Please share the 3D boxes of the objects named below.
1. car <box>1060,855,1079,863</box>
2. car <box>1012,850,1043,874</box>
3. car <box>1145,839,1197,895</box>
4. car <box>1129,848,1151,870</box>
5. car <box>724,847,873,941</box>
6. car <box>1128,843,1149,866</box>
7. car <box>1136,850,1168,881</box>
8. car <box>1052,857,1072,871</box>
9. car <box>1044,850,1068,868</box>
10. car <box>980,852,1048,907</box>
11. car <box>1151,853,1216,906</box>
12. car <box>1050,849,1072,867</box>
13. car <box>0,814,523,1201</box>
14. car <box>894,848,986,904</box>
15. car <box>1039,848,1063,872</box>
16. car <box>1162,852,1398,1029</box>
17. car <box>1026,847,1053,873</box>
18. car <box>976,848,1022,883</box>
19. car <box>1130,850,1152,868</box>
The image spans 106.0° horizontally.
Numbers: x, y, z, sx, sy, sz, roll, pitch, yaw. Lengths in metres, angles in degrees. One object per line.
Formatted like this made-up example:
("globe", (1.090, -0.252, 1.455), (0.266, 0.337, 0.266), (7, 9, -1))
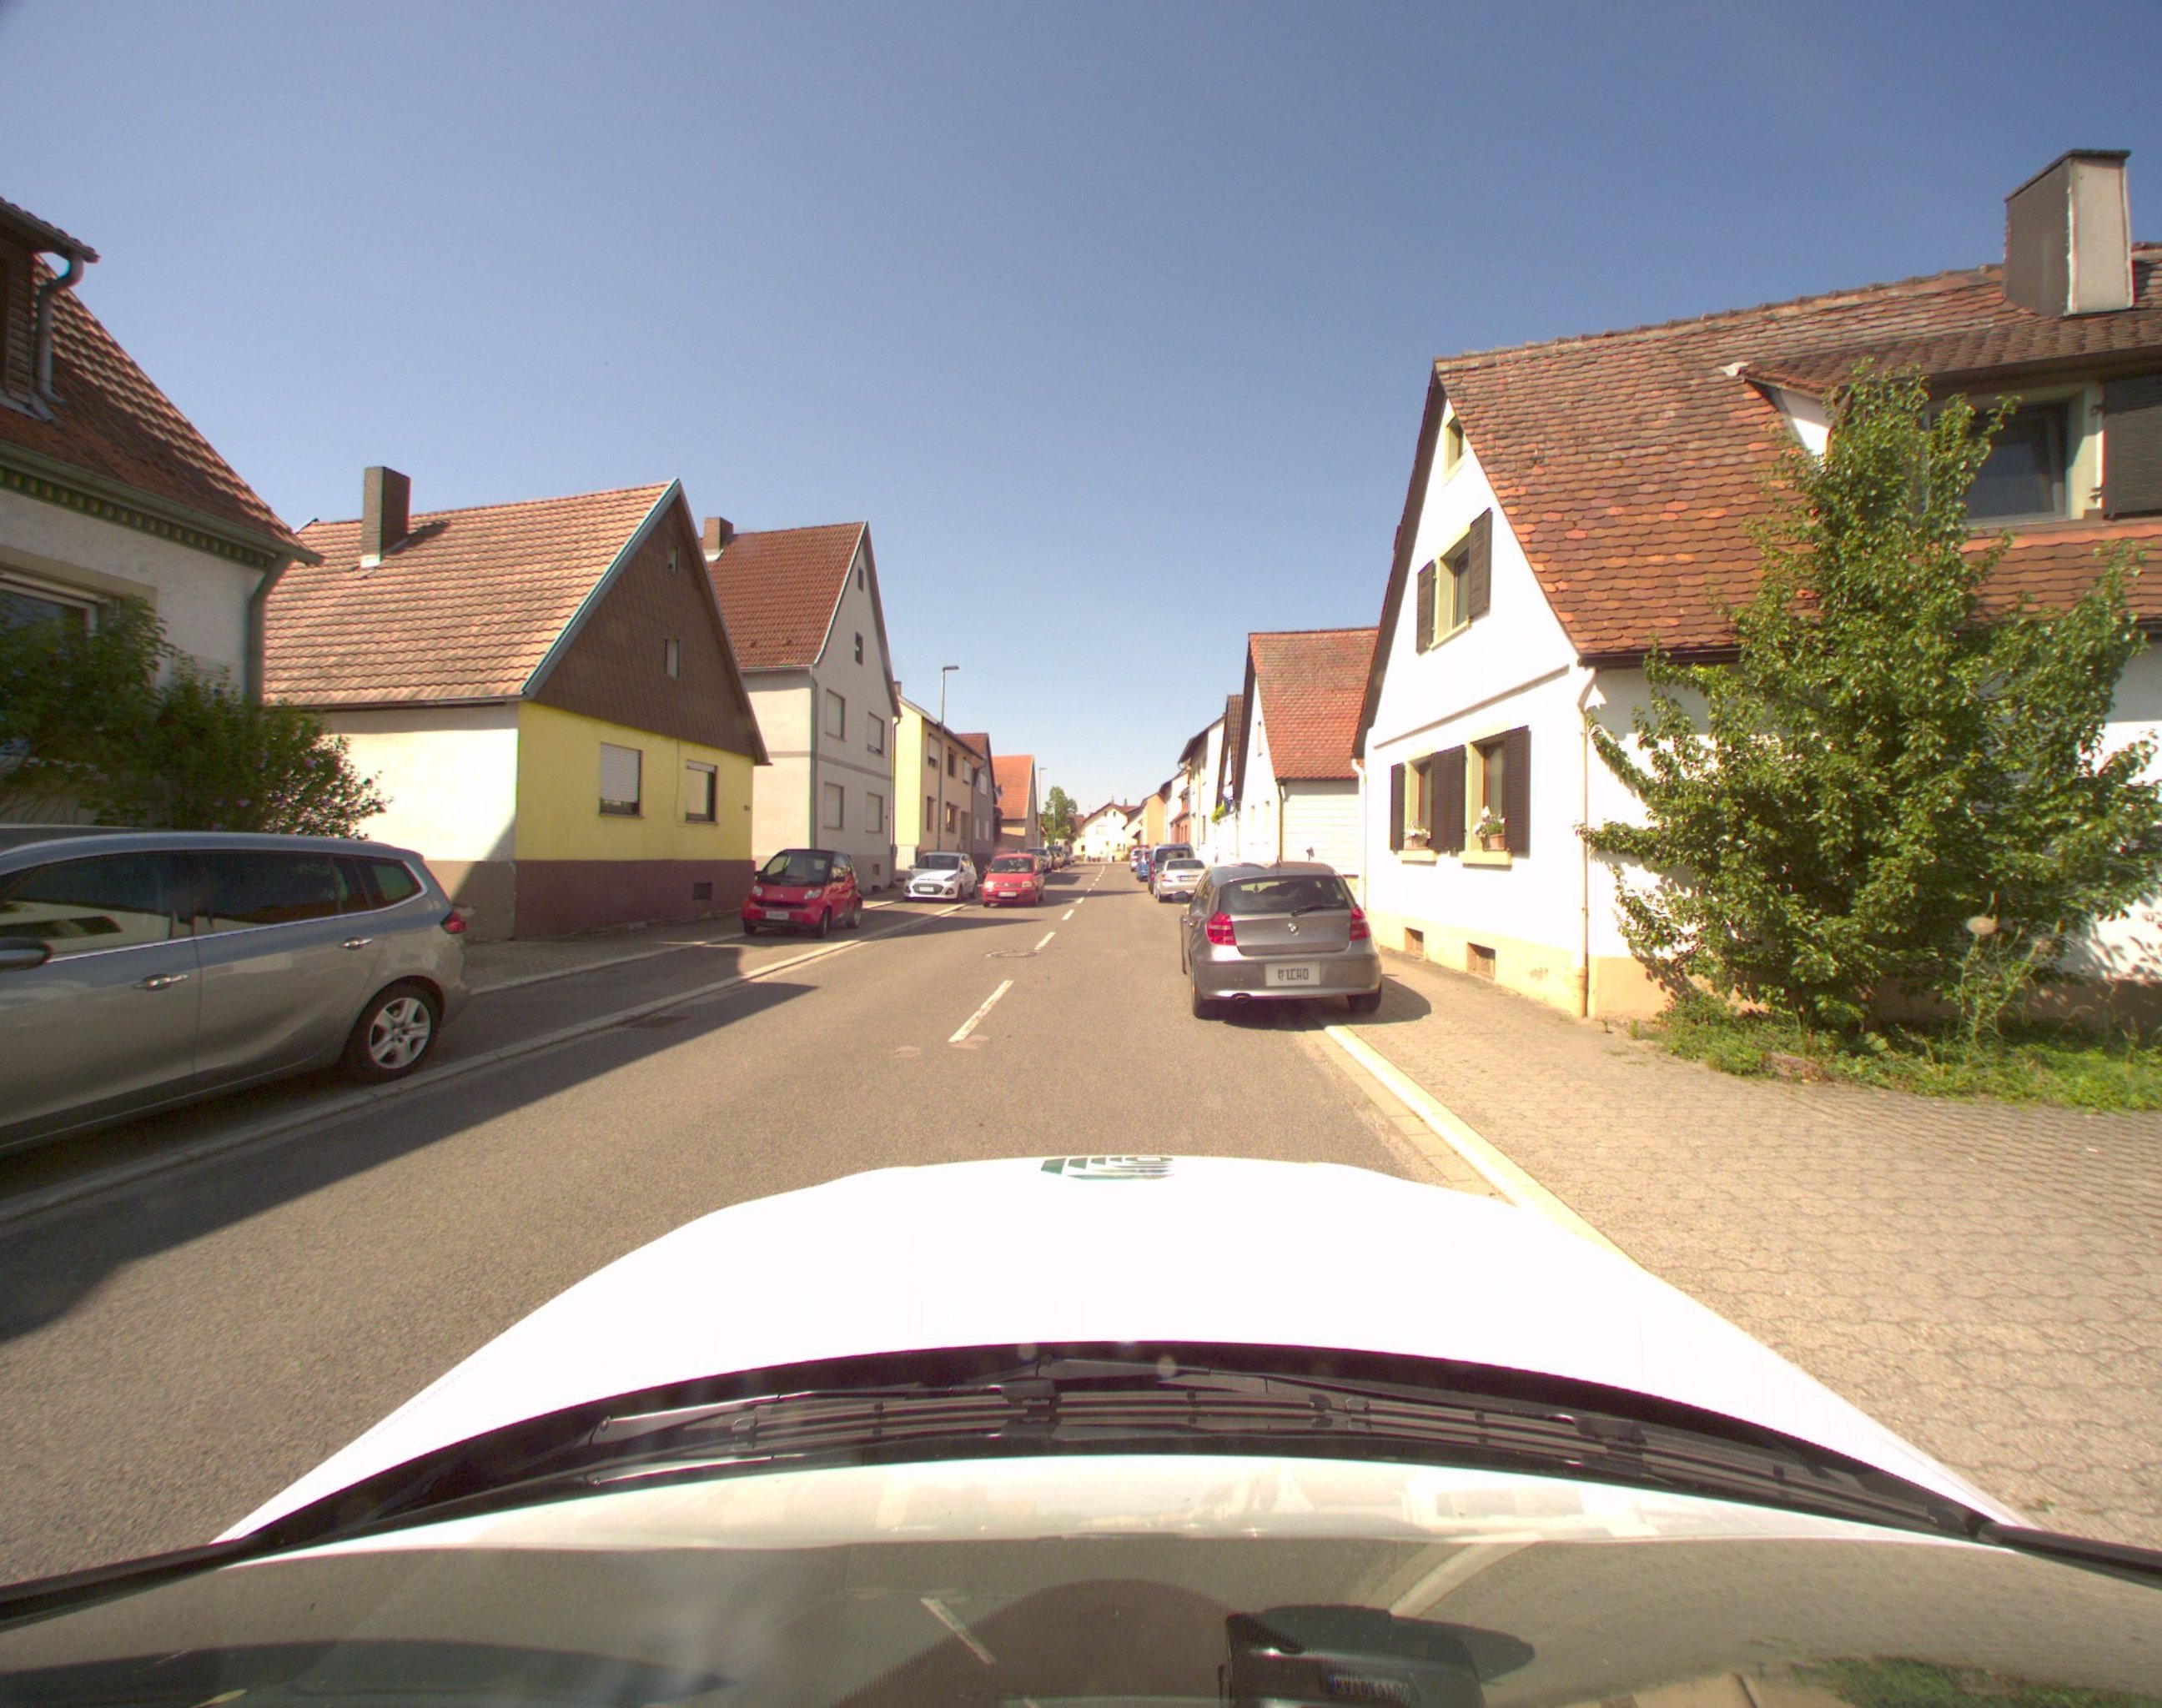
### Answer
("car", (-1.864, 0.818, 127.070), (1.998, 1.288, 3.977), (0, -1, -17))
("car", (-3.321, 0.497, 51.285), (1.498, 1.453, 3.511), (0, -1, 3))
("car", (3.297, 0.470, 30.270), (1.643, 1.910, 3.627), (1, 0, 2))
("car", (4.243, 0.388, 58.985), (1.415, 1.515, 3.306), (1, 0, 2))
("car", (-5.167, 0.684, 15.280), (1.546, 1.544, 2.991), (1, 0, 4))
("car", (5.080, 0.044, 72.210), (1.759, 2.004, 3.453), (0, -1, 3))
("car", (3.563, 0.562, 41.379), (1.415, 1.515, 3.306), (1, 0, 2))
("car", (-1.931, 1.023, 85.495), (1.746, 1.442, 4.004), (0, -1, 4))
("car", (-2.044, 0.442, 68.419), (1.747, 1.442, 4.001), (0, -1, 2))
("car", (-1.941, 0.720, 24.563), (1.595, 1.489, 3.627), (1, 0, 2))
("car", (3.123, 0.747, 25.402), (1.698, 1.496, 3.454), (1, 0, 2))
("car", (-1.810, 0.383, 75.922), (1.747, 1.624, 4.002), (0, -1, 2))
("car", (-5.443, 0.630, 3.989), (1.864, 1.636, 4.670), (1, 0, 5))
("car", (-4.320, 0.638, 25.663), (1.798, 1.548, 4.408), (1, 0, 4))
("car", (-2.231, 0.430, 61.117), (1.521, 1.713, 3.627), (1, 0, 2))
("car", (1.850, 0.731, 8.738), (1.698, 1.433, 3.891), (-2, 0, 2))
("car", (-2.780, 0.403, 55.156), (1.521, 1.713, 3.627), (1, 0, 2))
("car", (-3.839, 0.527, 38.847), (1.613, 1.577, 3.963), (1, 0, 2))
("car", (4.894, 0.447, 66.686), (1.759, 1.433, 3.453), (0, -1, 3))
